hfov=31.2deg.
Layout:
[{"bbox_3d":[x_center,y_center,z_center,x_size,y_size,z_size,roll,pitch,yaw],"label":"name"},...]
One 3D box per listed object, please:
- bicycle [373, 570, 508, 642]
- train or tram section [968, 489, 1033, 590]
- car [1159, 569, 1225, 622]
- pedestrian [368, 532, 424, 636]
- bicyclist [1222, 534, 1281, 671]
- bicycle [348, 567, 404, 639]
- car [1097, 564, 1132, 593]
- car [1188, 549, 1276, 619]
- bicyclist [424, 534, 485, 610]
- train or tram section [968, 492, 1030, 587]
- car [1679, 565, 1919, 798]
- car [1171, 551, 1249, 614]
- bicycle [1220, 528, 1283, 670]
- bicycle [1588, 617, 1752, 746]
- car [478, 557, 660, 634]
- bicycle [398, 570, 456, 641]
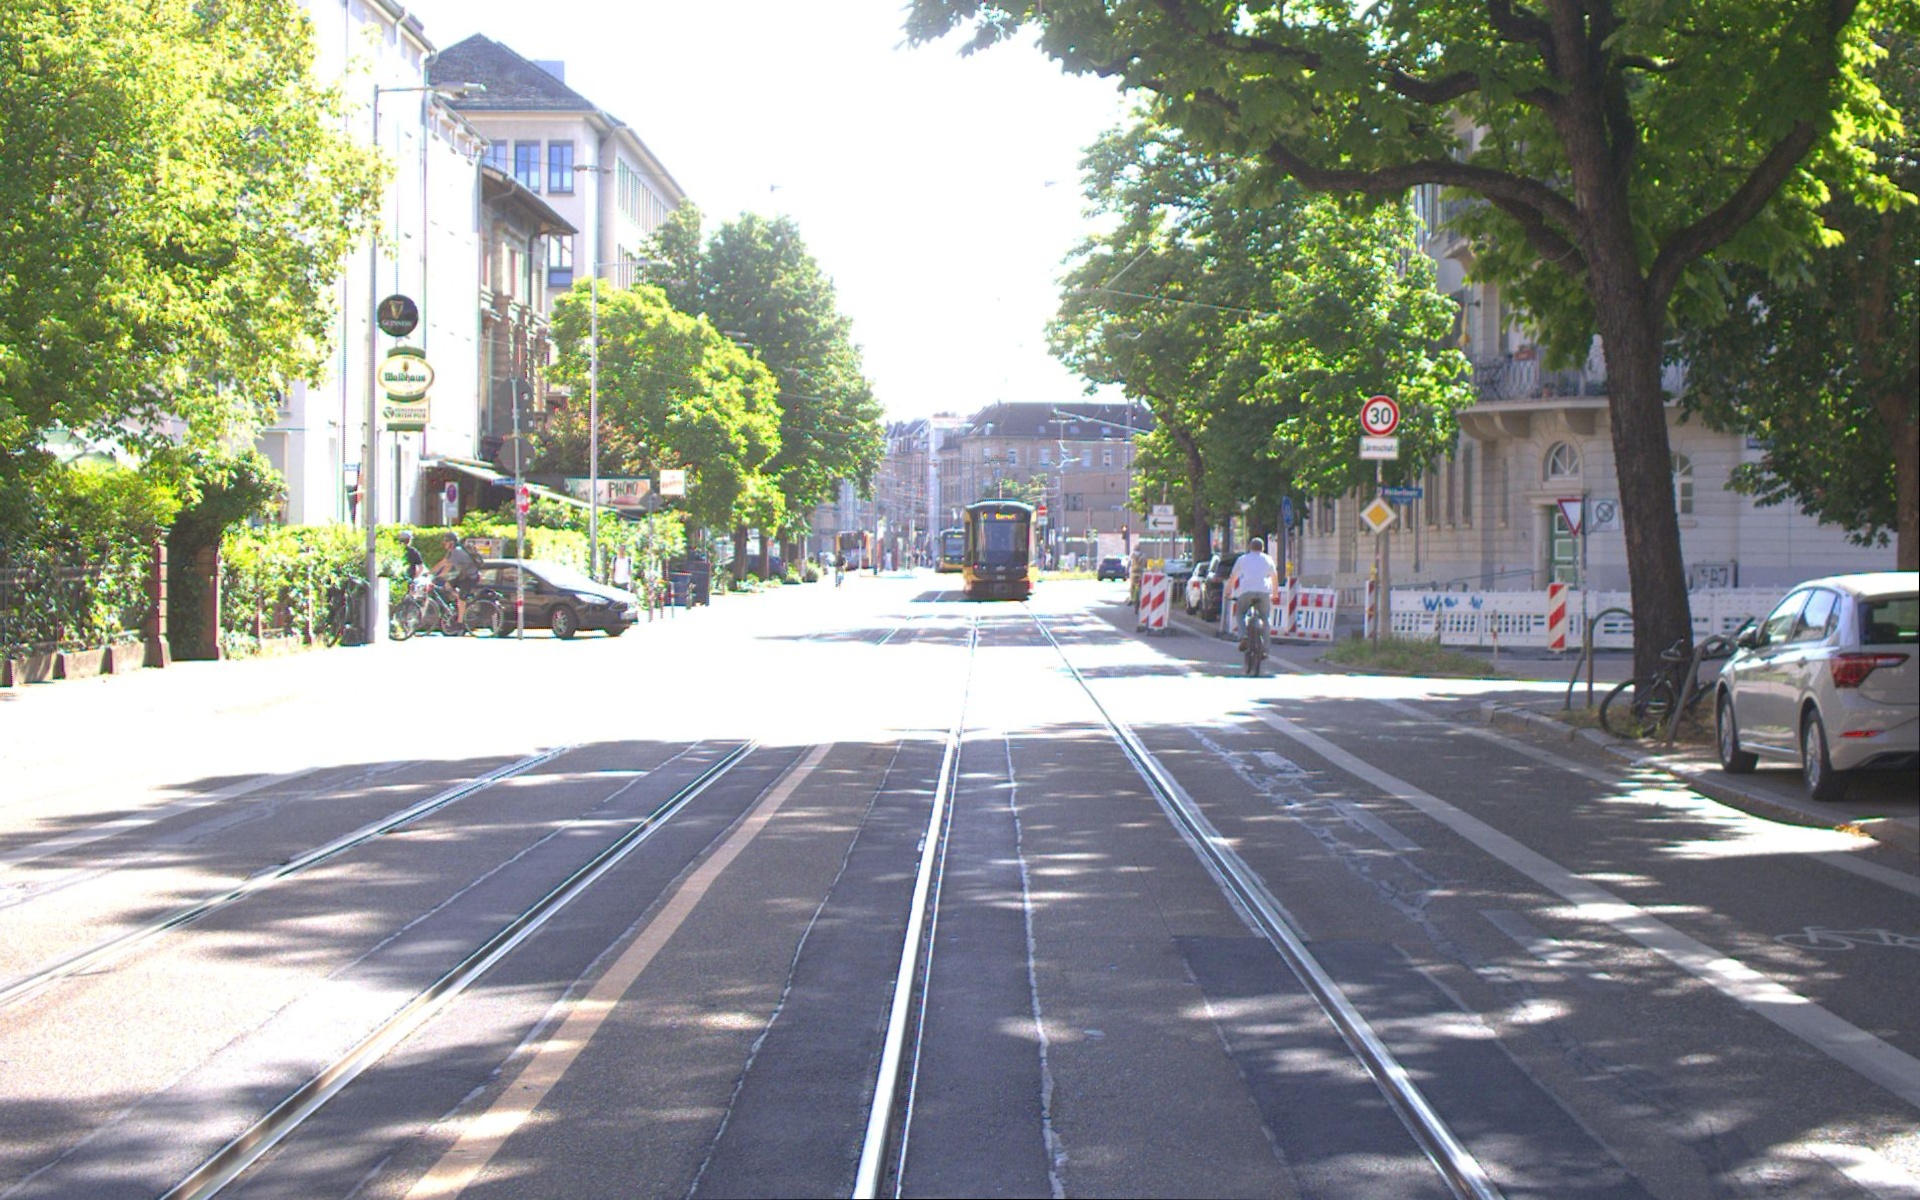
[{"bbox_3d":[-9.029,0.103,59.788,2.141,1.167,0.802,2,1,16],"label":"bicycle"},{"bbox_3d":[1.418,-2.150,122.021,2.153,3.420,6.611,2,1,0],"label":"train or tram section"},{"bbox_3d":[7.150,-0.152,106.288,1.754,1.546,3.677,2,1,0],"label":"car"},{"bbox_3d":[-9.419,-0.276,57.450,0.770,1.706,0.669,2,1,1],"label":"pedestrian"},{"bbox_3d":[3.895,0.024,45.950,0.645,1.789,0.956,2,1,0],"label":"bicyclist"},{"bbox_3d":[-9.222,0.037,54.271,0.632,1.065,1.832,2,1,-16],"label":"bicycle"},{"bbox_3d":[9.158,-1.279,204.313,1.872,1.657,3.515,2,1,0],"label":"car"},{"bbox_3d":[6.406,-0.403,81.306,1.754,1.546,3.677,2,1,0],"label":"car"},{"bbox_3d":[-8.778,-0.485,59.705,0.773,1.287,0.733,2,1,17],"label":"bicyclist"},{"bbox_3d":[1.429,-2.259,128.651,2.153,3.420,6.611,2,1,0],"label":"train or tram section"},{"bbox_3d":[6.198,0.488,23.435,1.748,1.415,4.000,0,1,0],"label":"car"},{"bbox_3d":[6.515,-0.474,89.922,1.754,1.546,3.677,2,1,0],"label":"car"},{"bbox_3d":[3.936,-0.028,46.572,0.663,1.853,2.260,2,1,2],"label":"bicycle"},{"bbox_3d":[5.965,0.680,28.929,1.270,1.020,0.704,2,0,9],"label":"bicycle"},{"bbox_3d":[-7.502,-0.079,65.721,1.755,1.415,3.578,1,-1,-40],"label":"car"},{"bbox_3d":[-8.557,0.084,55.156,0.632,1.065,1.832,2,1,-17],"label":"bicycle"}]
